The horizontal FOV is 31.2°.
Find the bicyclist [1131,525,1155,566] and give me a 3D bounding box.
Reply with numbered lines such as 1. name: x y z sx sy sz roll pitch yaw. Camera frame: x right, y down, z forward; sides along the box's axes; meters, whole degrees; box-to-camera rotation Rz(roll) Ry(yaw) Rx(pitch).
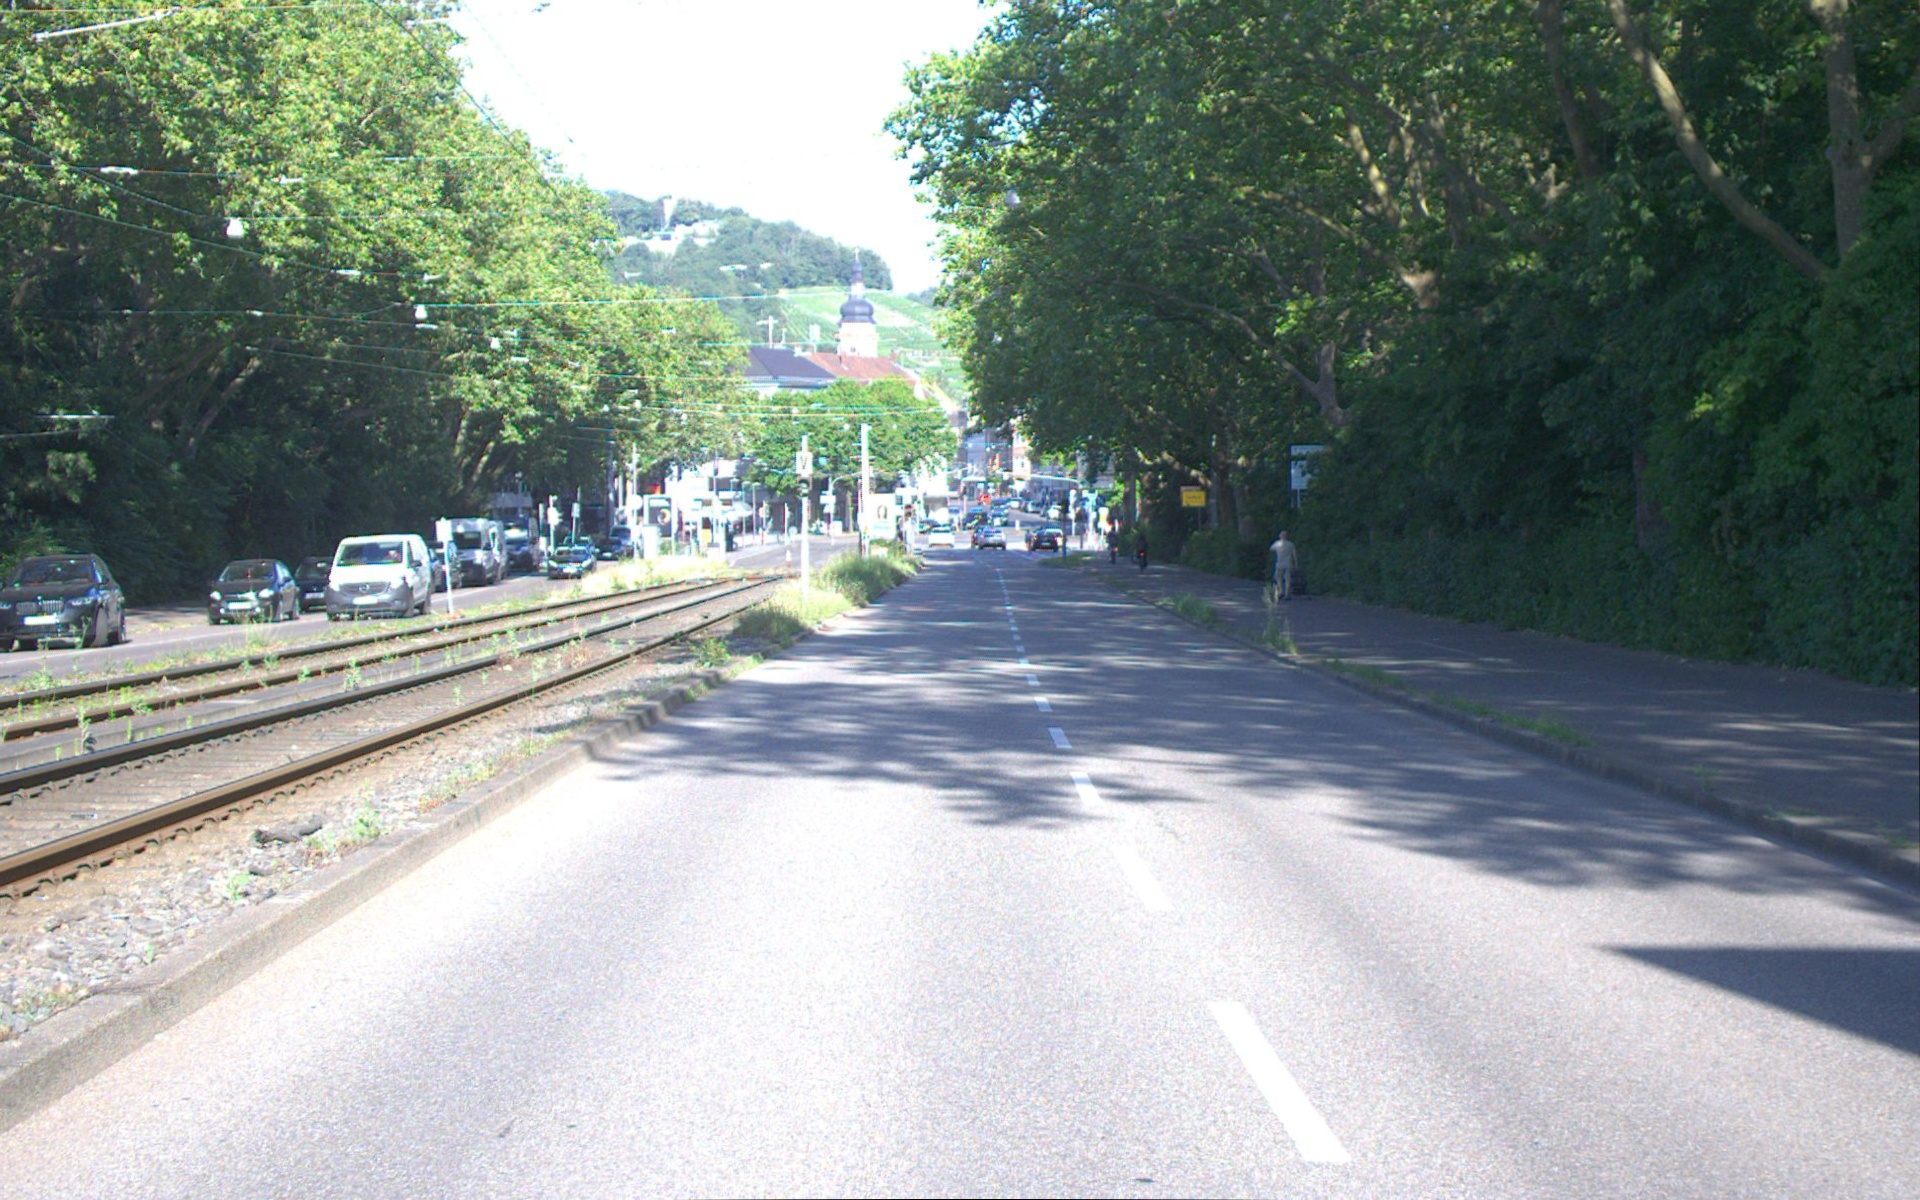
1. bicyclist: 7.339 -2.183 137.896 0.887 1.633 1.164 -1 1 0

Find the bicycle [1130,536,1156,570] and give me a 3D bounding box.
1. bicycle: 7.348 -1.897 137.803 0.887 1.316 2.640 -1 1 0

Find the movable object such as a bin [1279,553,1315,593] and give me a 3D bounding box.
1. movable object such as a bin: 7.993 -0.643 81.544 0.804 0.944 0.656 -1 1 4

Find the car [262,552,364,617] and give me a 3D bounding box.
1. car: -17.674 -0.454 94.087 1.993 1.691 4.745 -1 1 -2

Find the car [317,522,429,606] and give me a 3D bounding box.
1. car: -13.380 -0.846 78.672 1.993 1.838 5.302 -1 1 -4

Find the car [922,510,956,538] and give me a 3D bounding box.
1. car: -1.531 -5.553 250.382 2.394 1.993 5.306 -1 1 0

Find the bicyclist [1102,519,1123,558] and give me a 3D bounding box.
1. bicyclist: 7.010 -2.832 158.437 0.887 1.768 1.222 -1 1 0

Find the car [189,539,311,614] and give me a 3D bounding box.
1. car: -16.724 -0.584 81.156 1.993 1.691 4.745 -1 1 -2

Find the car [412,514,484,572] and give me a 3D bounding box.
1. car: -19.491 -2.174 131.070 1.993 2.156 5.815 -1 1 -2

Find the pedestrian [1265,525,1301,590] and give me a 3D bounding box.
1. pedestrian: 7.744 -1.012 82.412 0.804 1.540 0.814 -1 1 4

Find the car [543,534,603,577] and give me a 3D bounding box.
1. car: -15.628 -1.820 138.932 1.993 1.691 4.745 -1 1 -2

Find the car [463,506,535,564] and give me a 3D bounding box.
1. car: -20.627 -2.930 153.952 2.394 2.515 5.900 -1 1 0

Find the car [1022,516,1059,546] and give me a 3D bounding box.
1. car: 5.541 -4.738 236.039 2.394 1.993 5.306 -1 1 0

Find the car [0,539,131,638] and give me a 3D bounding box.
1. car: -15.999 -0.239 61.360 1.741 1.631 4.001 -1 2 -5

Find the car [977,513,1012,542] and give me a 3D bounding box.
1. car: 2.410 -5.081 240.731 2.394 1.993 5.306 -1 1 0

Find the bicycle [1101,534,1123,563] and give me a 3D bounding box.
1. bicycle: 7.006 -2.400 158.407 0.887 1.316 2.640 -1 1 0
